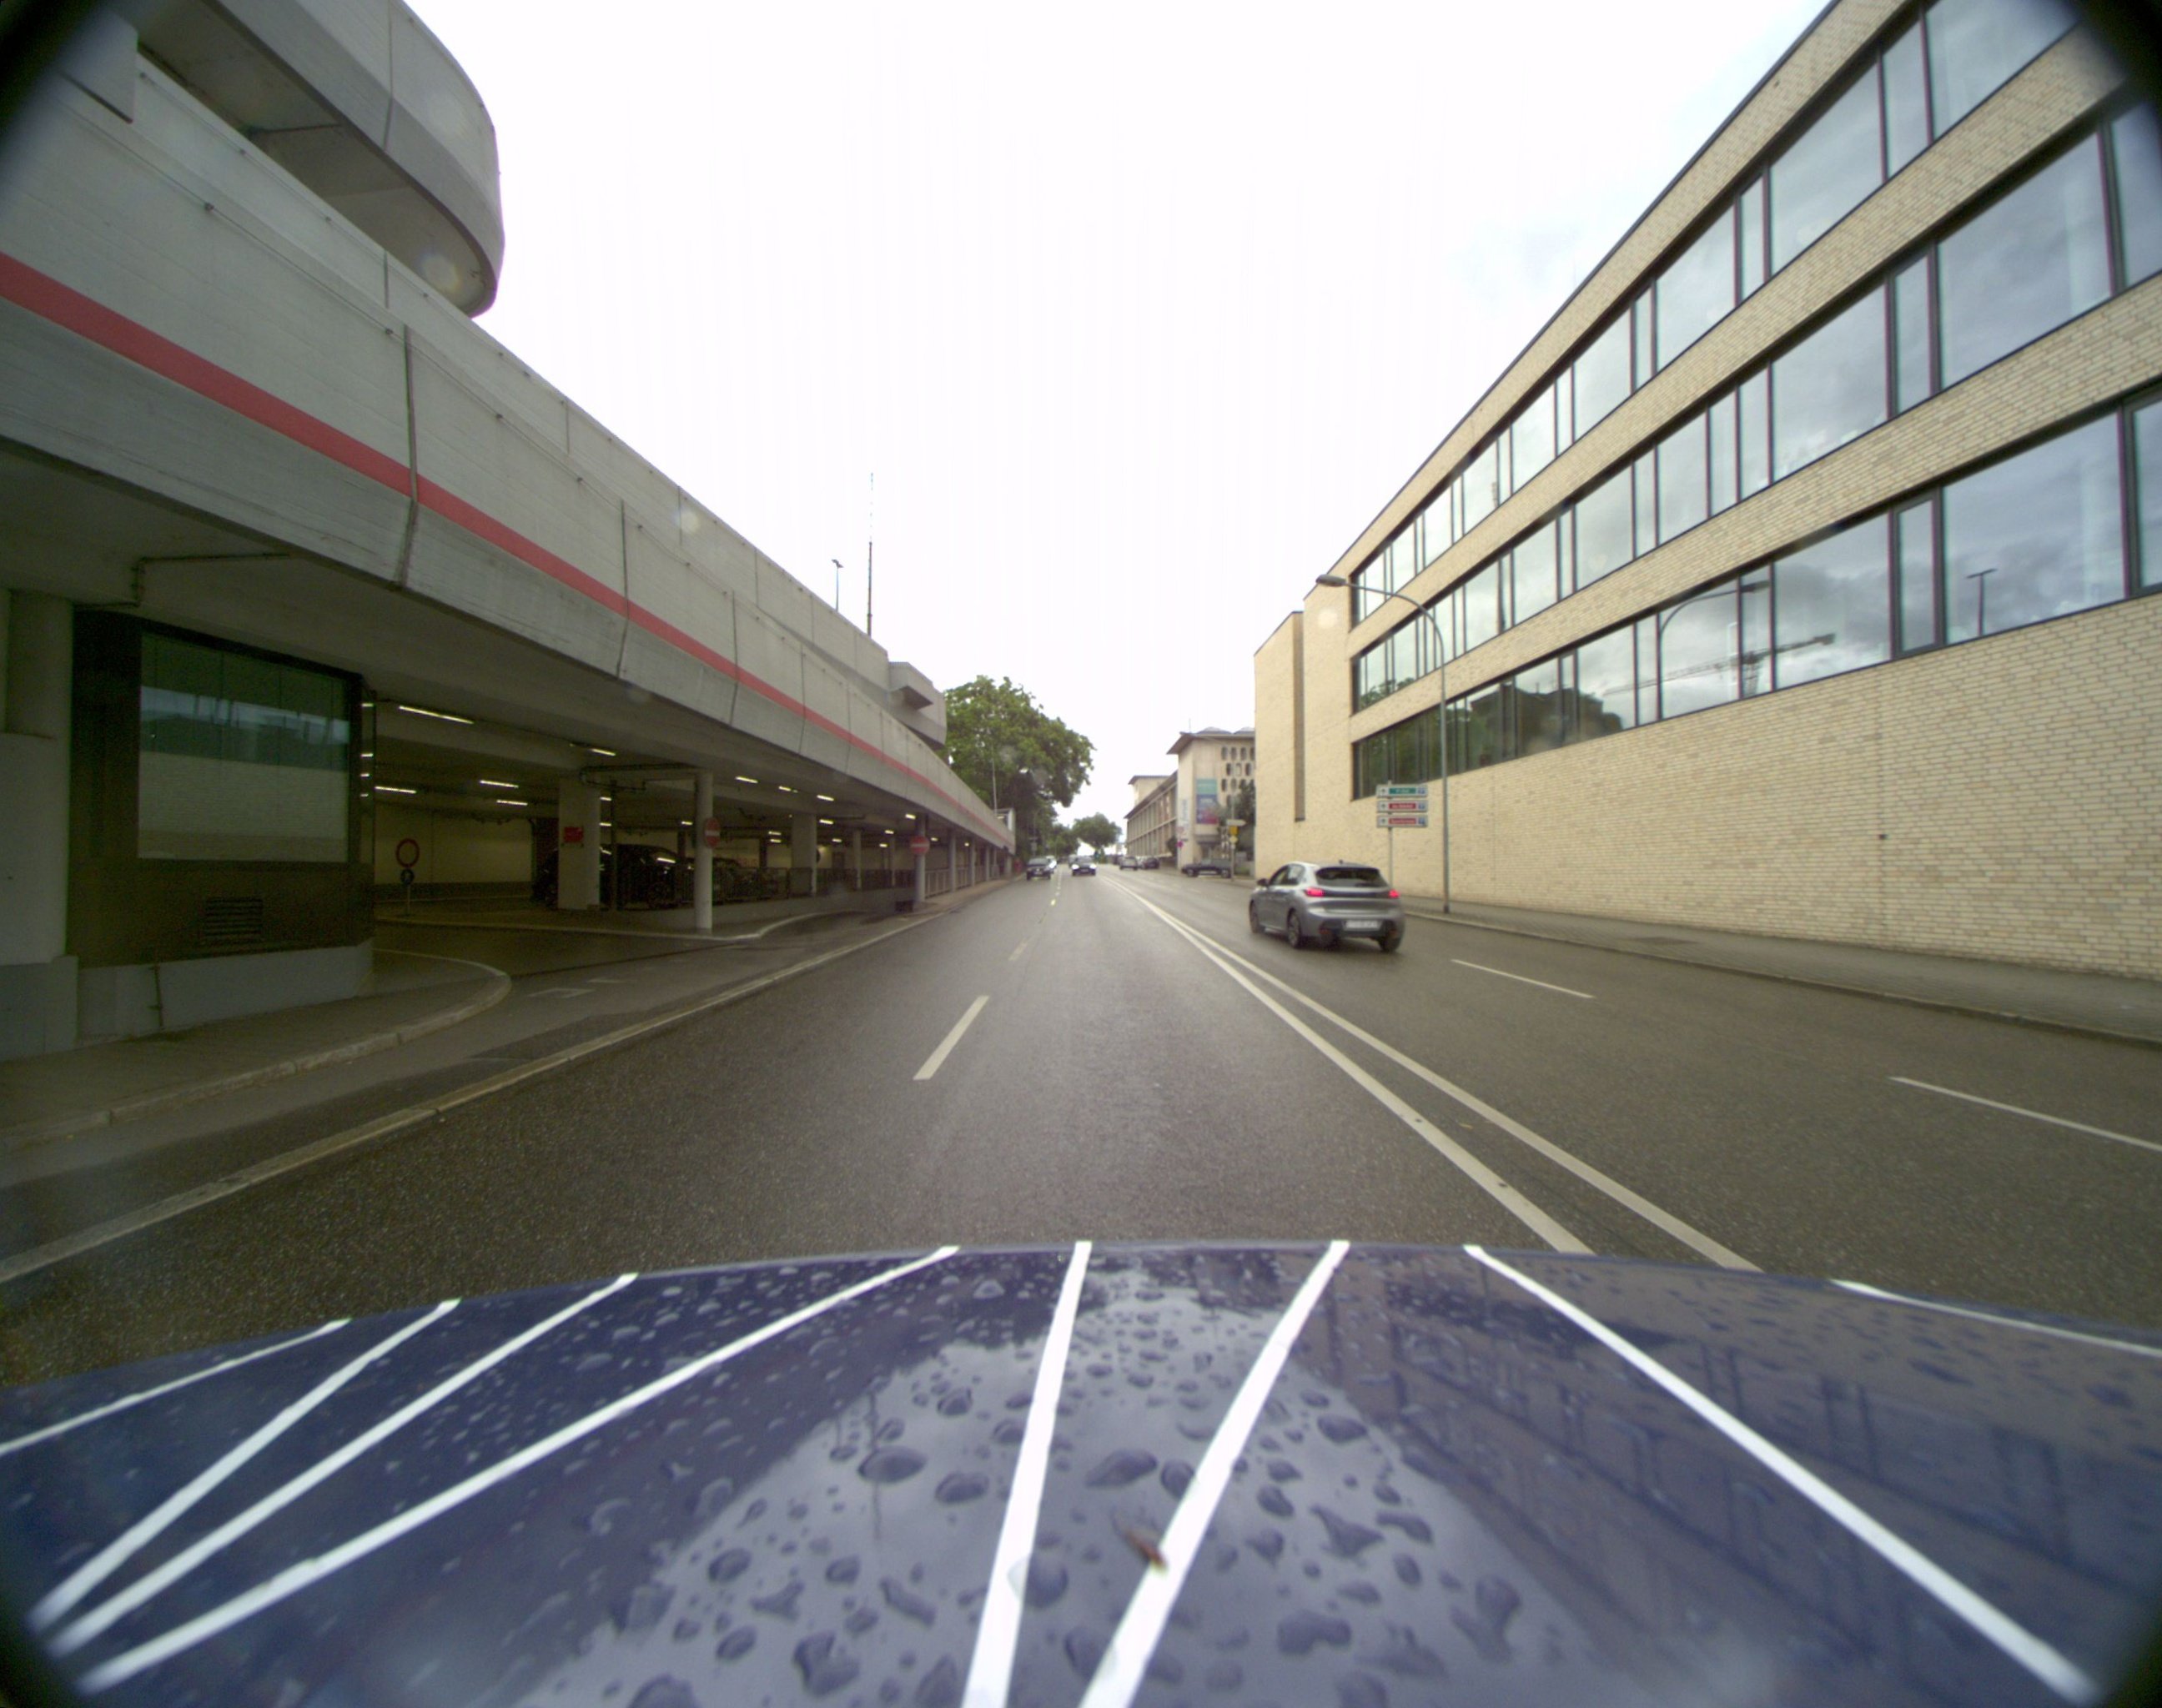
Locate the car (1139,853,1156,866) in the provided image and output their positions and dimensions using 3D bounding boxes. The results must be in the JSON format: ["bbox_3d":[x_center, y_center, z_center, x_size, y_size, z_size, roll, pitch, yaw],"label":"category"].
[{"bbox_3d":[8.485,0.682,96.689,1.800,1.516,4.056,-2,0,1],"label":"car"}]

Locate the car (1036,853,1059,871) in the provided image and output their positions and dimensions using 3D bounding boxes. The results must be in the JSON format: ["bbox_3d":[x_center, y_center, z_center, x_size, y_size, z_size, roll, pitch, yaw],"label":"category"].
[{"bbox_3d":[-3.032,0.700,69.530,1.915,1.443,4.036,-2,1,0],"label":"car"}]

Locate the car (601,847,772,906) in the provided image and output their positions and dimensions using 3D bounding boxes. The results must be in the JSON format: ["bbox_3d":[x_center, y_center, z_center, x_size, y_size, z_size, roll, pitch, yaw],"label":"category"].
[{"bbox_3d":[-11.920,0.721,23.119,4.251,1.650,2.003,-1,-4,10],"label":"car"}]

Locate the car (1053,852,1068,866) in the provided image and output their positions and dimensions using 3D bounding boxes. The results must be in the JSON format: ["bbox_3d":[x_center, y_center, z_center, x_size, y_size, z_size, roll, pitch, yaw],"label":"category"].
[{"bbox_3d":[-2.597,0.601,97.976,1.727,1.628,3.999,-2,1,1],"label":"car"}]

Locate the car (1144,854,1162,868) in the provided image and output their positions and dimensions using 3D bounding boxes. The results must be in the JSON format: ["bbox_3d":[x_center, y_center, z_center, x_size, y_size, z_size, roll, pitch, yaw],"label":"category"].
[{"bbox_3d":[8.625,0.861,90.994,1.800,1.516,4.056,-2,0,1],"label":"car"}]

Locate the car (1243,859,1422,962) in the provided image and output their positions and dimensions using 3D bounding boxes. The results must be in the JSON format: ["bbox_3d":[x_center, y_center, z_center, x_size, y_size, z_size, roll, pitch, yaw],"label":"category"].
[{"bbox_3d":[4.173,0.863,13.312,1.745,1.461,3.881,1,0,-1],"label":"car"}]

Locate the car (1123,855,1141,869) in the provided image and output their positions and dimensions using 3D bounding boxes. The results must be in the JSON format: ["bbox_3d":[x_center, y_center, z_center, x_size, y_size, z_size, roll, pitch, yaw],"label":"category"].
[{"bbox_3d":[5.714,0.876,85.956,1.800,1.516,4.056,-2,0,1],"label":"car"}]

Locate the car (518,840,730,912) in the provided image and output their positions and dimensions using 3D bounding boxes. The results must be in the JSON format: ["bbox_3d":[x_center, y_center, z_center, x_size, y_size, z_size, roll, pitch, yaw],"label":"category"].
[{"bbox_3d":[-11.390,0.613,19.094,4.251,1.650,2.003,-1,-4,10],"label":"car"}]

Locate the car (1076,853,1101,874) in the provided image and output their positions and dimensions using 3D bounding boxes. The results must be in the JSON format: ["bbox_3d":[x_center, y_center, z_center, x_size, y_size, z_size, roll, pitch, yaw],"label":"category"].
[{"bbox_3d":[0.595,0.717,59.236,1.852,1.516,3.990,-2,0,1],"label":"car"}]

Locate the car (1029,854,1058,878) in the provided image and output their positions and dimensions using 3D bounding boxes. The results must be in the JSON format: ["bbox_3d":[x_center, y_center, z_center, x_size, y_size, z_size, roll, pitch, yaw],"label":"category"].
[{"bbox_3d":[-2.563,0.812,52.511,1.683,1.516,3.990,-2,0,1],"label":"car"}]

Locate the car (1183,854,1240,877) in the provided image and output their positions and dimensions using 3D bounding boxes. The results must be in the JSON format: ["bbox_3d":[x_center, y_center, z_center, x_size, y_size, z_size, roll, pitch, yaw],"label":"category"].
[{"bbox_3d":[10.035,0.869,58.278,3.991,1.652,1.864,-1,1,21],"label":"car"}]

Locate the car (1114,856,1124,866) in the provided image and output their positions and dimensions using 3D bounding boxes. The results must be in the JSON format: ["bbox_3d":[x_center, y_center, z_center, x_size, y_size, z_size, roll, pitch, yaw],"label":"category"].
[{"bbox_3d":[7.120,1.264,142.722,1.698,1.715,3.756,-2,1,1],"label":"car"}]
